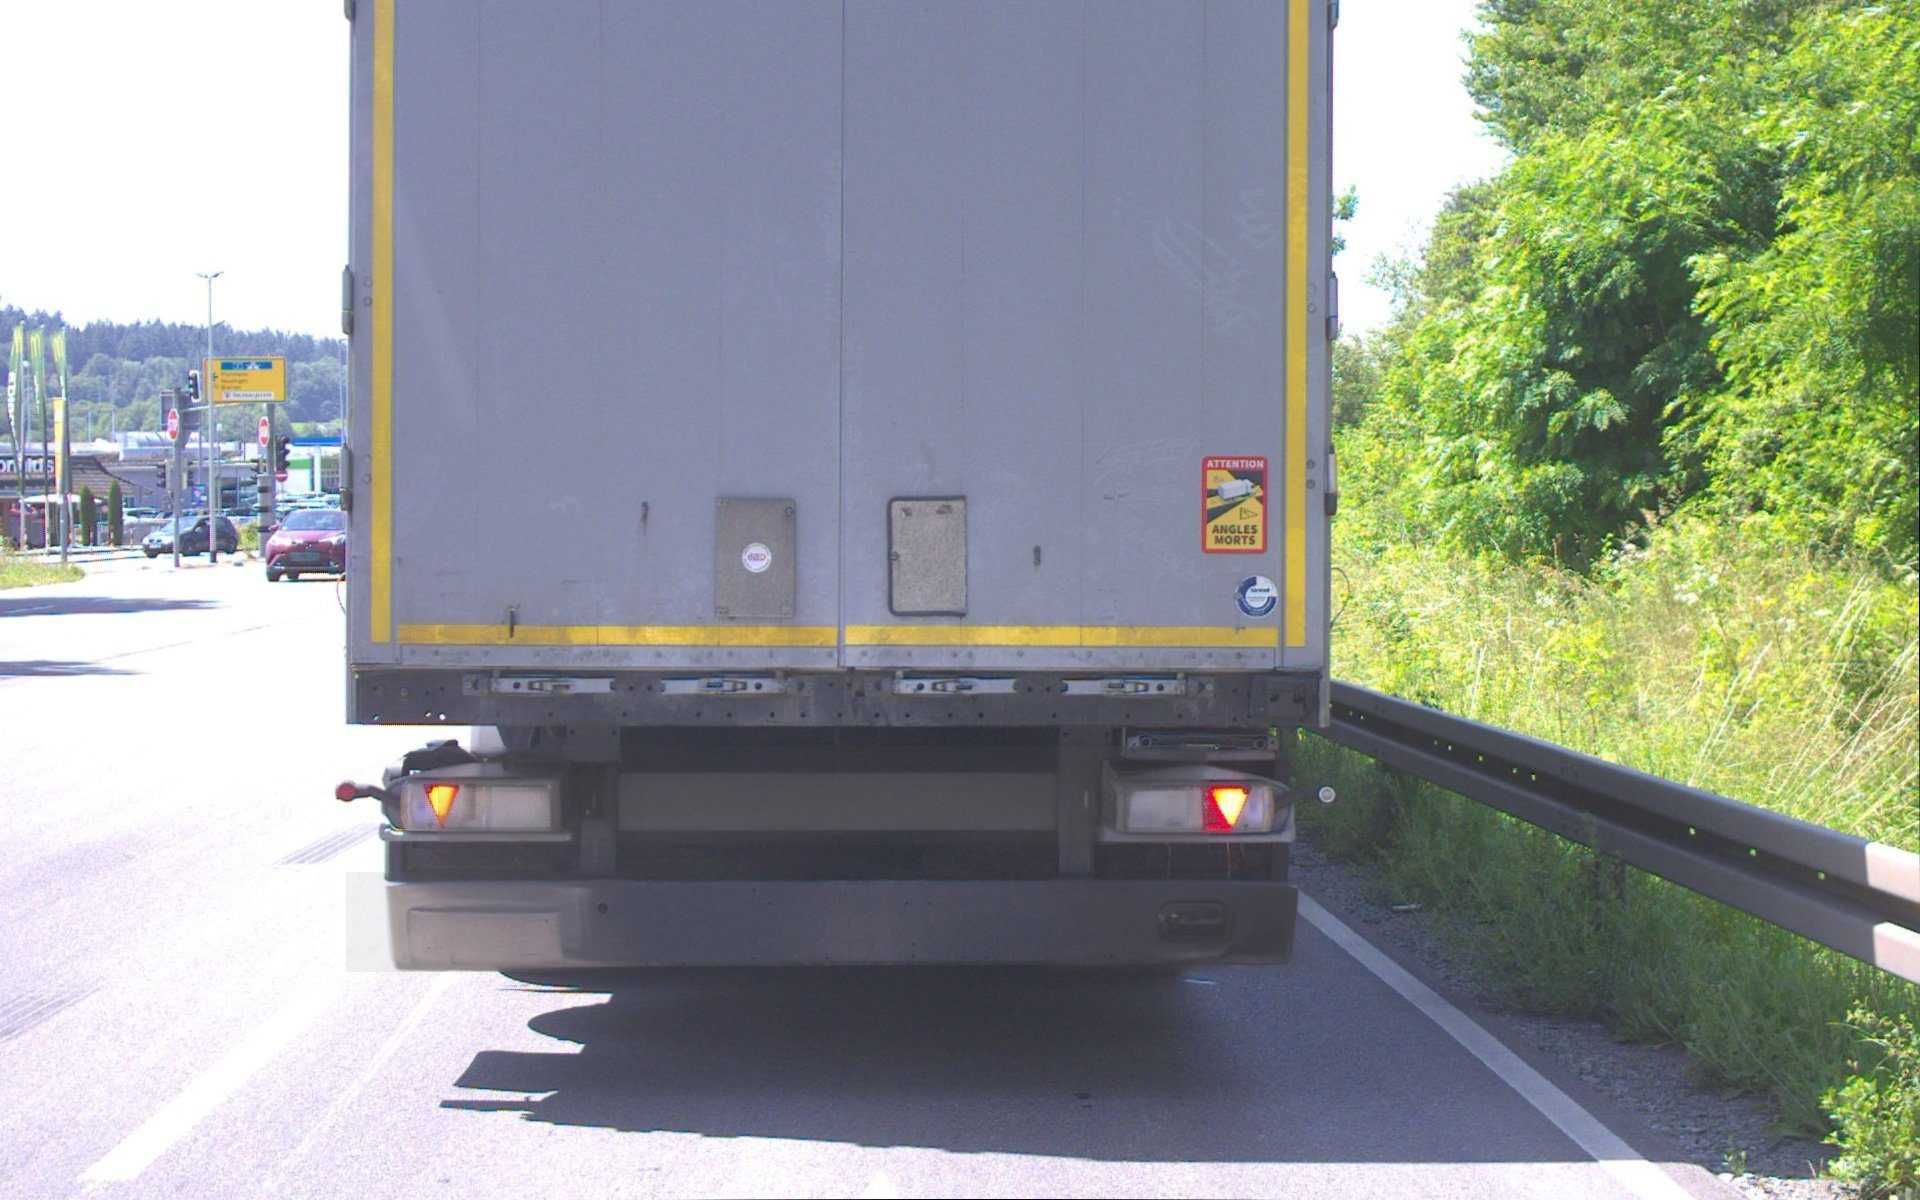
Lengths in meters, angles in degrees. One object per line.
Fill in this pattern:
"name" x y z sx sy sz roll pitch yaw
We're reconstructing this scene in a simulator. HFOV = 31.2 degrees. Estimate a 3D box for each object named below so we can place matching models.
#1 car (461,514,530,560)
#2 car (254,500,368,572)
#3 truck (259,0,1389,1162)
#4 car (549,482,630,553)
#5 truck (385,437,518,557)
"car" -14.633 -1.967 108.444 1.766 1.381 4.000 1 1 -2
"car" -13.923 -1.387 73.924 1.903 1.503 3.765 0 1 -2
"truck" -0.430 -1.030 16.888 2.755 4.623 16.656 1 1 -1
"car" -10.838 -2.423 100.738 1.993 2.007 4.000 1 1 -1
"truck" -18.709 -3.789 127.675 2.968 4.162 16.577 0 1 -2
